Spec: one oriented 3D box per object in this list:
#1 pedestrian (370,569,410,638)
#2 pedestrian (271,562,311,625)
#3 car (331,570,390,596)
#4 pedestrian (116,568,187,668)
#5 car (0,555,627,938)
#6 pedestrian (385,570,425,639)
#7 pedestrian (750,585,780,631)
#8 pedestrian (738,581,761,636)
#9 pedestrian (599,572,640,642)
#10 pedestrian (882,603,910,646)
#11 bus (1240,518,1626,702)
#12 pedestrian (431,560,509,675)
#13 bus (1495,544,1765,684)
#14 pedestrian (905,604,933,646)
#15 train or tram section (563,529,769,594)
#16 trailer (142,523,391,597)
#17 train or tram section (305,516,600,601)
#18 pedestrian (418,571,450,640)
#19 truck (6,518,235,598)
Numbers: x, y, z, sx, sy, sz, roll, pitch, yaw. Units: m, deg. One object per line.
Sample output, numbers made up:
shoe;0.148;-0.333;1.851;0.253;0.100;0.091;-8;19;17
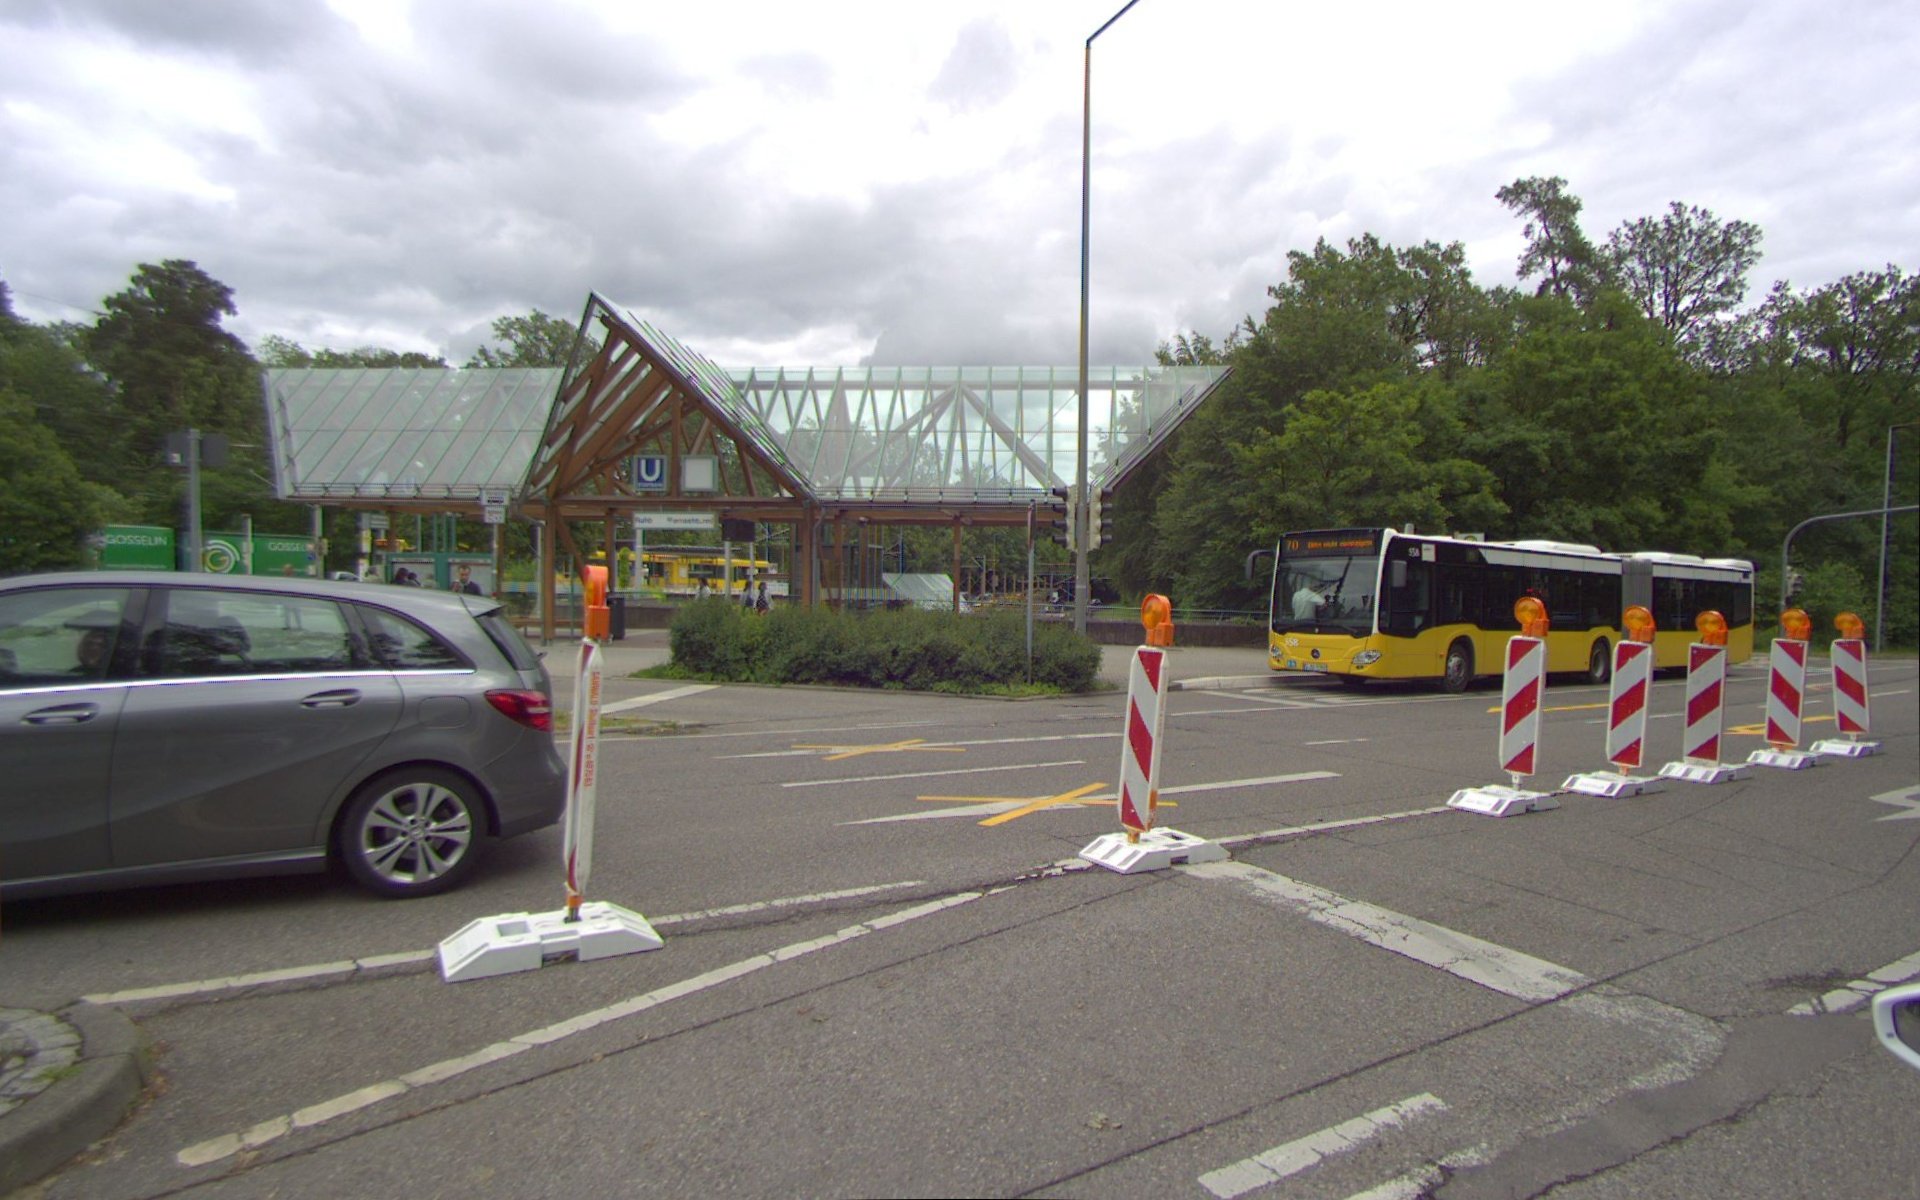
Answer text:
pedestrian;-14.095;0.077;24.856;0.572;1.647;0.674;2;2;7
pedestrian;-17.703;-0.181;26.594;0.759;1.647;0.779;0;3;-27
car;-36.783;-1.041;61.694;1.472;1.495;2.739;3;3;29
pedestrian;-13.080;0.272;16.258;0.868;1.545;0.759;-1;3;-40
car;-4.033;0.594;4.942;4.258;1.529;1.799;2;-1;-31
pedestrian;-13.590;0.088;24.609;0.572;1.647;0.674;2;2;7
pedestrian;-5.568;0.225;28.685;0.751;1.286;0.393;2;2;6
pedestrian;-6.180;0.251;29.466;0.596;1.575;0.464;1;2;-8
pedestrian;-8.177;0.153;24.127;0.662;1.618;0.673;2;3;17
pedestrian;-1.566;0.591;24.554;0.556;0.997;0.547;1;2;-15
bus;10.289;0.209;21.203;9.660;3.169;2.880;1;1;-35
pedestrian;-8.149;0.261;16.728;0.751;1.833;0.995;2;2;6
bus;17.797;0.348;26.429;8.606;3.169;2.880;1;1;-35
pedestrian;-1.006;0.608;24.838;0.557;0.997;0.555;1;3;-17
train or tram section;-23.081;-3.051;81.927;3.518;4.595;20.634;3;2;24
trailer;-41.077;-2.341;60.275;3.722;3.934;11.839;3;3;32
train or tram section;-31.222;-2.555;64.050;3.518;4.595;18.665;3;2;24
pedestrian;-12.787;0.119;24.414;0.574;1.647;0.671;1;3;-17
truck;-44.916;-2.215;54.107;3.722;3.934;8.749;3;3;32
